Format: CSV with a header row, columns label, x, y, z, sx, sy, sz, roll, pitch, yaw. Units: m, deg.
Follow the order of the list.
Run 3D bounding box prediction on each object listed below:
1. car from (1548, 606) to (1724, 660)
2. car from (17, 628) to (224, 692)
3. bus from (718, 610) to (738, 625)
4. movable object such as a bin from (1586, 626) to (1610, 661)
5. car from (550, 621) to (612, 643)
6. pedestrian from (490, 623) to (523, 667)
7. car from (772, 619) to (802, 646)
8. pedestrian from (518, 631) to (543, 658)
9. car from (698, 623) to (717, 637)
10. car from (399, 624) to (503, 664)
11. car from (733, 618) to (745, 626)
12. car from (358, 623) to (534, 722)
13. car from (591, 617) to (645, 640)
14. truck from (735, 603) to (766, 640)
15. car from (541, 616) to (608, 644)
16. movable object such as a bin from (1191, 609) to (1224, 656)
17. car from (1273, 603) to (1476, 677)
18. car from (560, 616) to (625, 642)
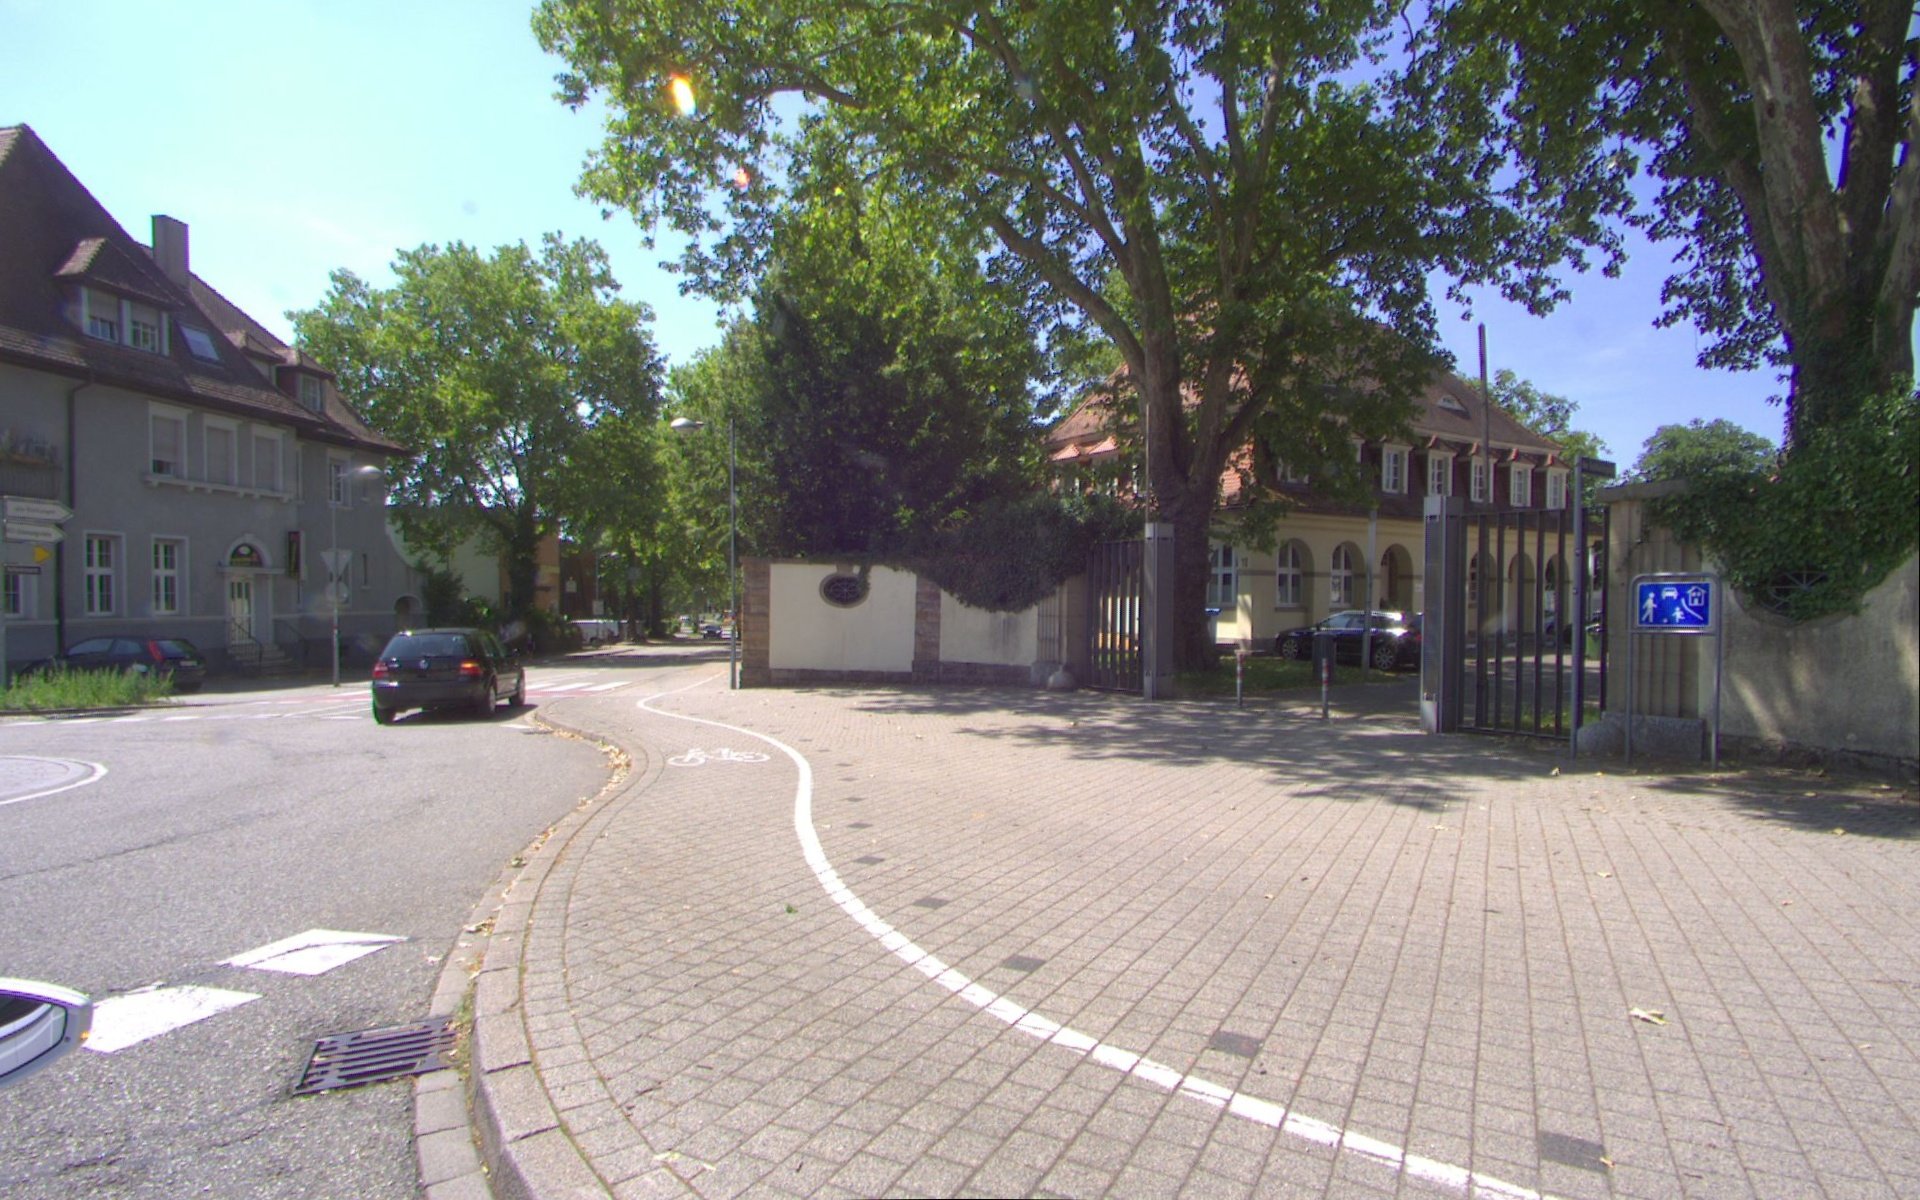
label,x,y,z,sx,sy,sz,roll,pitch,yaw
car,22.780,1.060,33.945,1.972,1.422,4.472,0,4,-32
car,-20.607,1.449,24.678,3.719,1.479,1.724,-1,-1,2
bus,-49.217,3.748,212.439,2.627,3.191,11.170,0,-1,-21
movable object such as a bin,18.599,1.266,29.196,0.530,1.021,0.525,-1,-1,27
car,-27.719,2.328,73.295,3.926,1.535,1.867,2,-1,-11
pedestrian,-18.399,1.806,40.657,0.857,1.765,1.112,0,-1,0
car,-11.543,2.138,66.947,1.713,1.578,4.778,-2,0,-7
pedestrian,-18.878,1.951,44.008,0.742,1.136,0.897,0,-1,-5
car,-25.917,3.080,102.846,1.741,1.444,4.390,0,-1,-12
car,-20.544,1.762,40.486,3.326,1.566,1.724,0,-1,2
car,-41.875,4.221,189.911,1.742,1.392,3.720,-1,-1,-21
car,-8.585,1.142,17.082,1.685,1.466,4.055,0,-1,-12
car,-28.670,2.415,84.072,4.065,1.827,1.902,2,-1,-11
truck,-18.522,1.947,88.663,2.333,3.173,5.769,0,-2,-9
car,-26.492,2.088,68.924,3.926,1.815,1.867,2,-1,-11
movable object such as a bin,7.086,0.927,28.685,0.661,1.313,0.672,0,-1,-41
car,10.490,0.947,25.700,1.972,1.422,4.472,0,4,-32
car,-27.831,2.213,75.900,4.355,1.827,1.902,2,-1,-11
